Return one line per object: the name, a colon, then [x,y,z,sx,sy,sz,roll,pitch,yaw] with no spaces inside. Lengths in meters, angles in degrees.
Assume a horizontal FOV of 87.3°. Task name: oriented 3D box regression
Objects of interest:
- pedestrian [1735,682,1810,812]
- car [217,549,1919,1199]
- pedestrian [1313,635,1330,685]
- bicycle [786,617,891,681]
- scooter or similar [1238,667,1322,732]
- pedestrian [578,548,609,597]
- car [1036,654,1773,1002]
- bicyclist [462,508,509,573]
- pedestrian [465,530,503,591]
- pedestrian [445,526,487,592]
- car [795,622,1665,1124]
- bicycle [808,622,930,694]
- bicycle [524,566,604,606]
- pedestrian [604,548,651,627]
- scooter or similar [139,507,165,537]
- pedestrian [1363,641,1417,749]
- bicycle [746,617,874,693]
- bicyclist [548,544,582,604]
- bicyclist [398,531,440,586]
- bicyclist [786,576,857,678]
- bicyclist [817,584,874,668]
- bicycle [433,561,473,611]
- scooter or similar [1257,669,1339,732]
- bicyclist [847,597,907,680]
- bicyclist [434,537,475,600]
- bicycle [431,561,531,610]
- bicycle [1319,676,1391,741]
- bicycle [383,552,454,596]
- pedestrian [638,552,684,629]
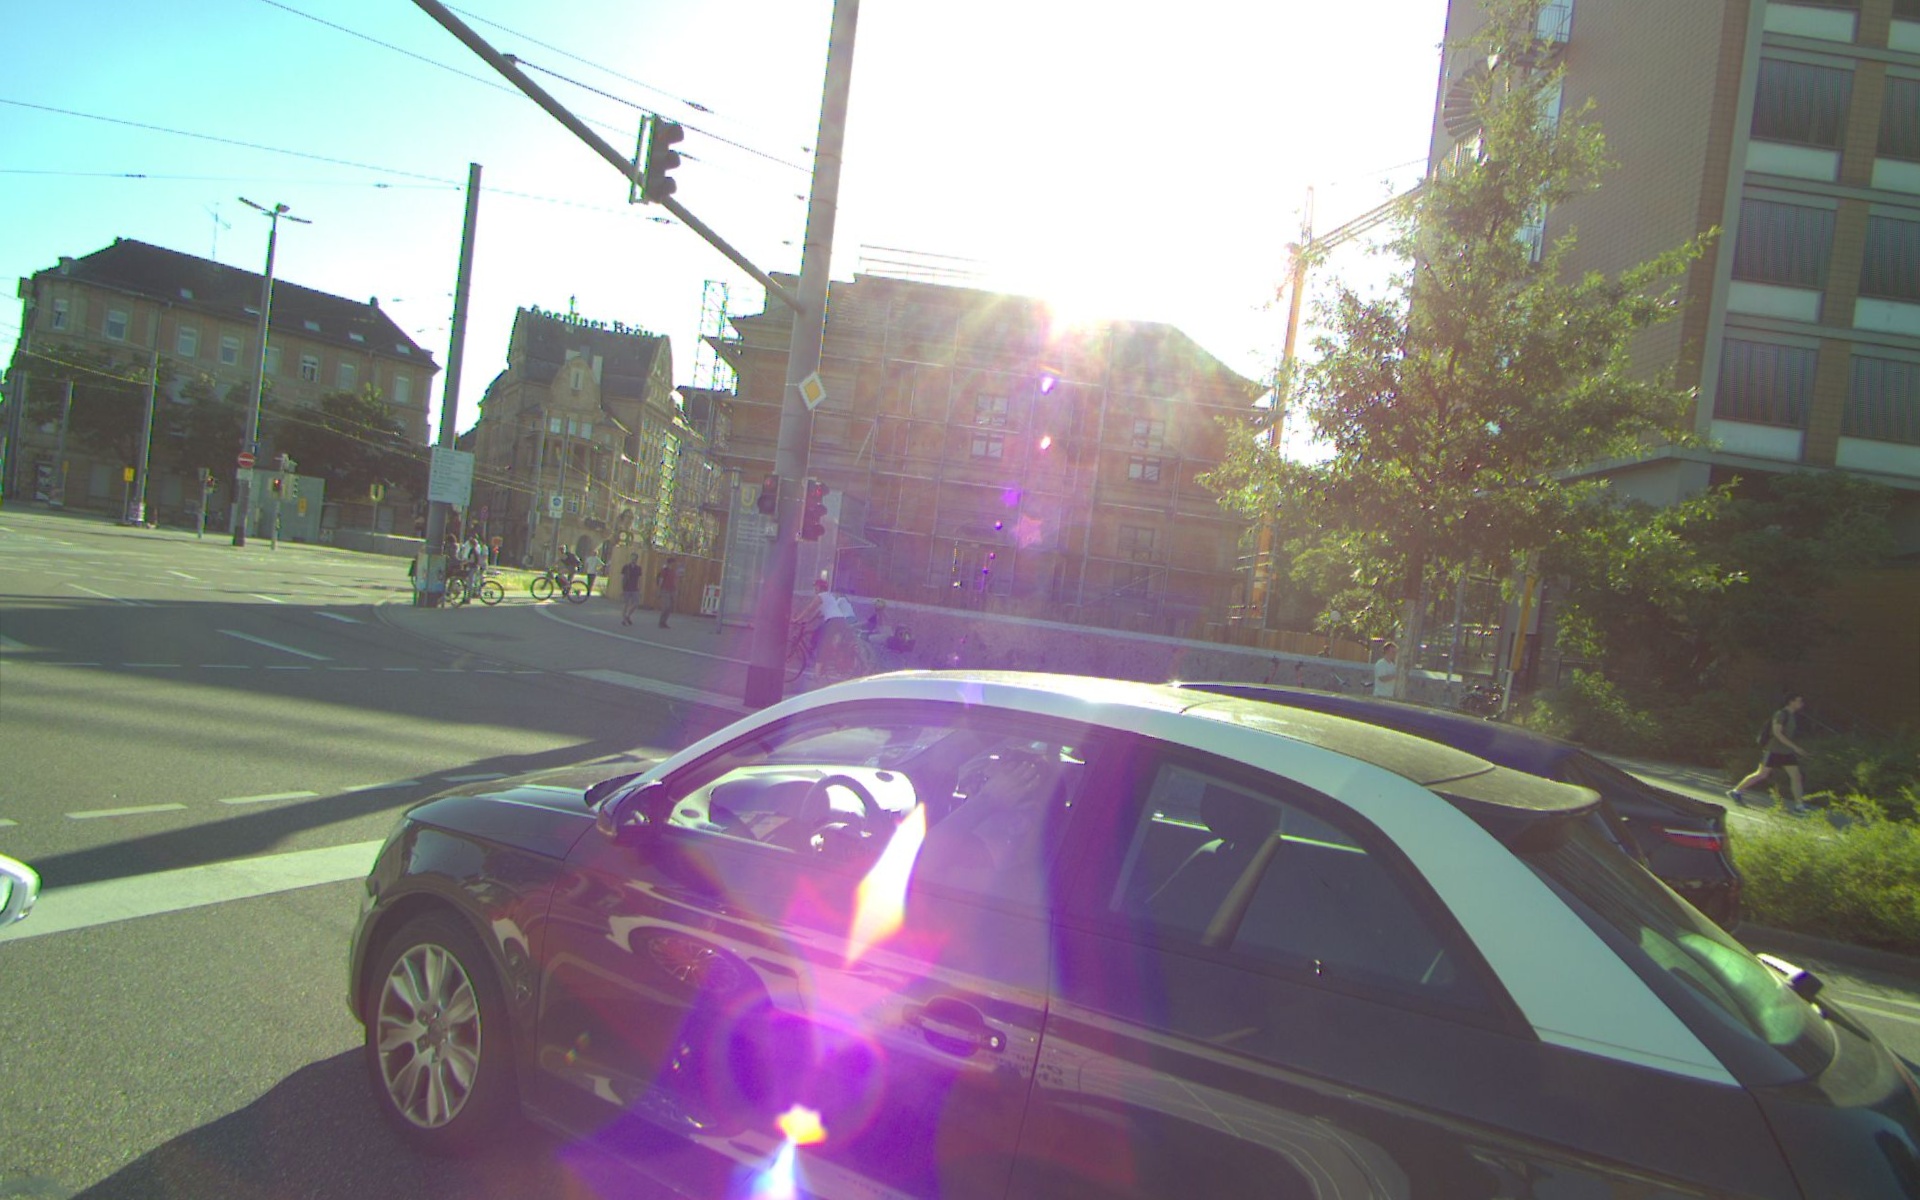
pedestrian: [12.653,2.275,15.668,0.461,1.908,0.687,8,-1,-41]
car: [-0.112,0.810,2.744,3.934,1.420,1.627,6,-2,32]
pedestrian: [13.012,2.151,36.241,0.369,1.752,0.444,7,-1,17]
bicycle: [-2.324,0.909,19.069,2.004,0.976,0.657,6,2,36]
scooter or similar: [5.932,1.839,18.665,1.348,1.007,0.342,7,-1,25]
pedestrian: [-14.526,-1.085,39.913,0.678,1.835,0.649,7,-1,25]
car: [2.999,1.420,7.513,4.435,1.420,1.727,6,-2,31]
bicyclist: [-12.635,-1.563,26.801,0.936,1.575,0.705,8,-1,-29]
pedestrian: [-16.164,-1.331,34.161,0.678,1.945,0.649,7,-1,25]
pedestrian: [-16.373,-1.348,33.365,0.748,2.037,0.733,7,-1,25]
car: [1.226,1.091,5.378,3.934,1.420,1.627,6,-2,32]
bicycle: [-1.588,0.984,17.444,1.999,0.976,0.659,6,2,27]
bicycle: [-12.606,-0.430,32.025,2.289,1.063,0.532,5,2,-25]
pedestrian: [-8.124,-0.295,24.575,0.672,1.830,0.672,7,2,11]
scooter or similar: [-42.187,-4.079,52.543,0.784,1.392,1.885,8,-2,-44]
pedestrian: [7.065,1.536,16.529,0.592,1.662,0.677,7,3,29]
bicycle: [-2.493,0.892,16.660,1.998,0.976,0.659,7,3,24]
bicyclist: [-12.565,-0.819,32.025,0.785,1.800,0.520,8,-1,-23]
bicyclist: [-16.775,-1.280,31.192,0.930,1.575,0.516,7,-1,23]
bicyclist: [-2.276,0.440,16.591,0.780,1.573,0.667,7,2,22]
bicyclist: [-2.161,0.492,19.012,0.663,1.471,0.616,6,-1,37]
bicycle: [-12.686,-0.368,25.136,0.693,1.061,2.303,9,-1,-29]
scooter or similar: [6.458,1.919,19.240,1.346,1.007,0.343,7,-1,13]
bicyclist: [-1.426,0.670,17.380,0.662,1.330,0.617,7,-1,27]
bicyclist: [-12.627,-0.776,25.106,0.703,1.456,0.940,8,-1,-30]
bicycle: [-12.749,-0.375,26.811,2.293,1.062,0.696,6,-1,-28]
bicycle: [7.157,1.962,18.271,0.352,1.015,1.149,8,-2,-29]
bicycle: [-16.780,-0.808,31.166,2.278,1.061,0.536,8,-1,24]
pedestrian: [-7.547,-0.226,25.421,0.672,1.828,0.672,7,-1,11]
